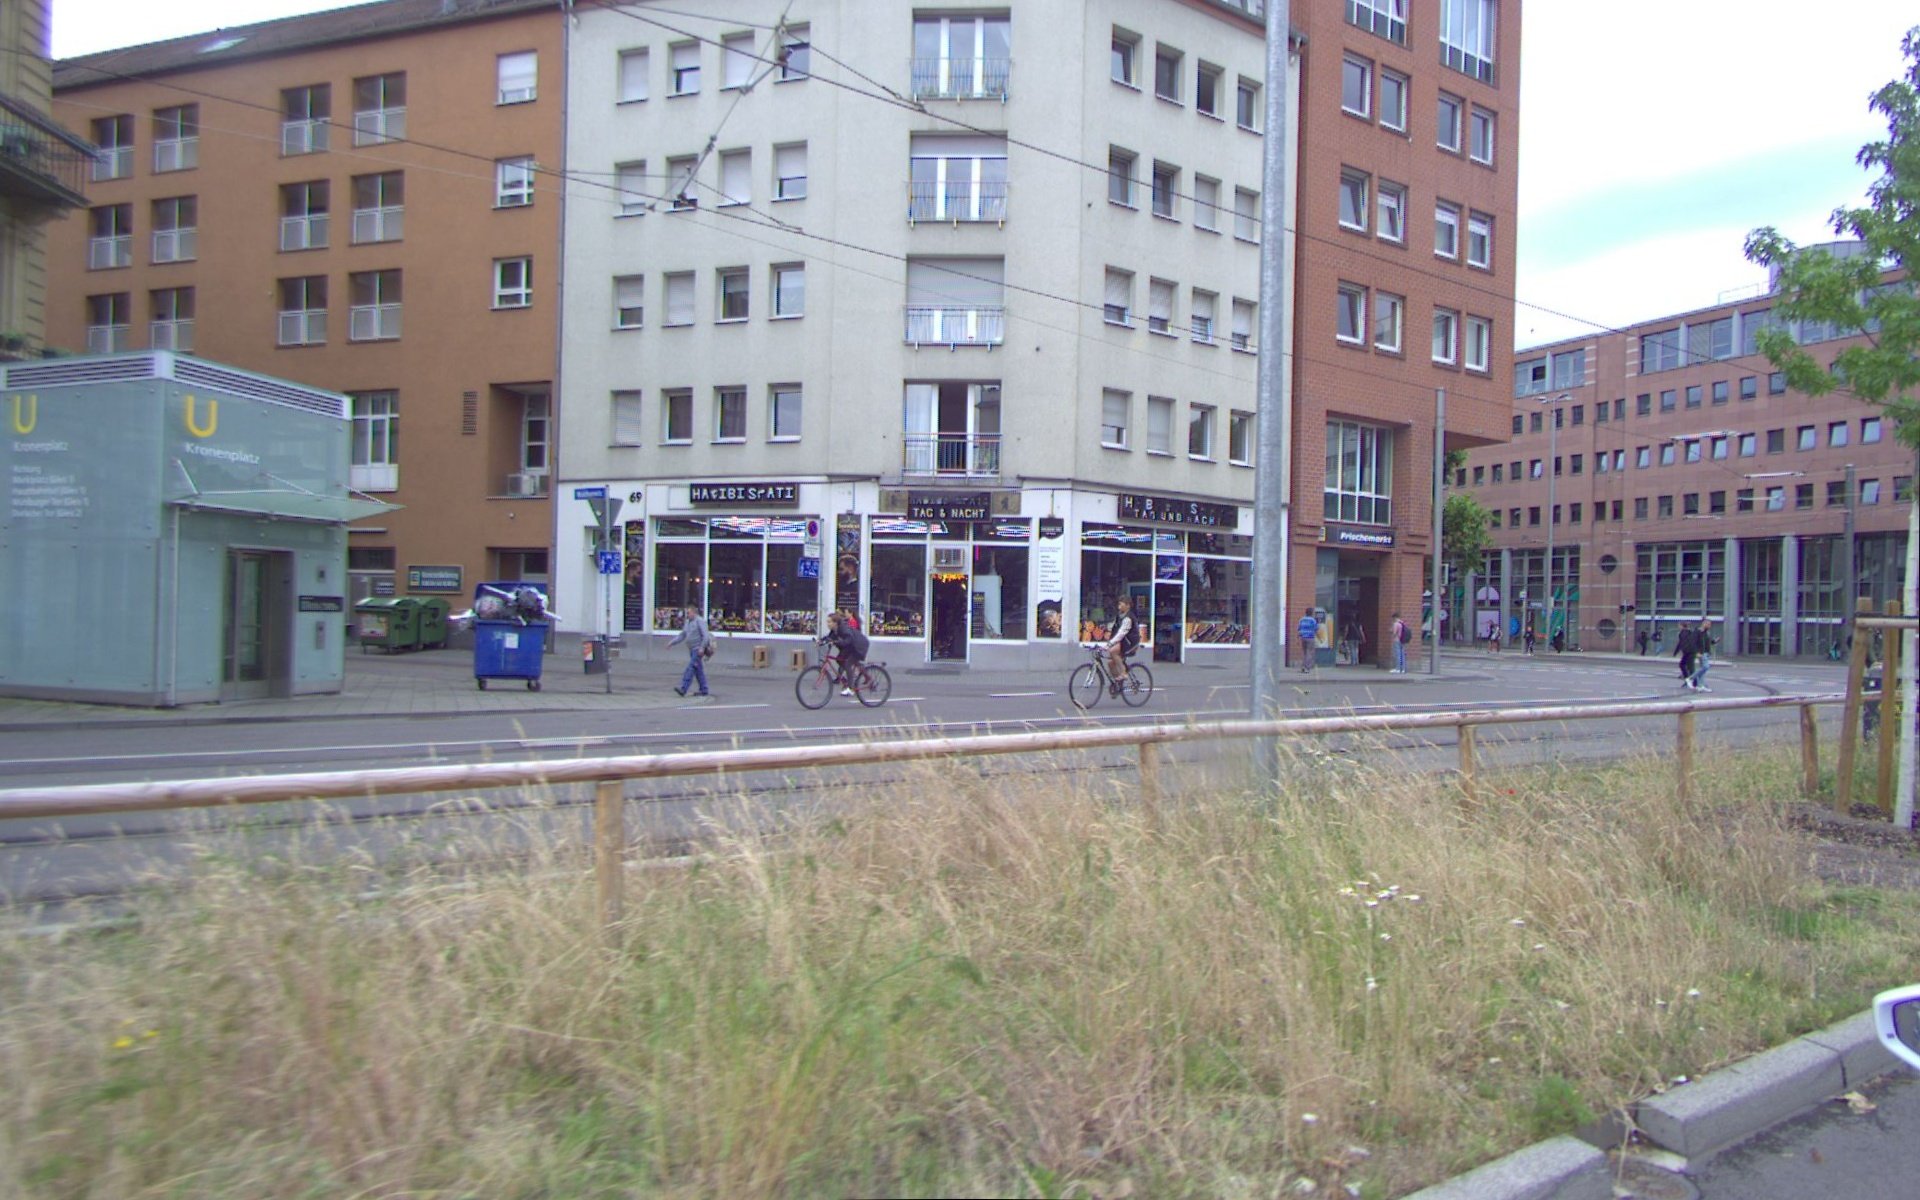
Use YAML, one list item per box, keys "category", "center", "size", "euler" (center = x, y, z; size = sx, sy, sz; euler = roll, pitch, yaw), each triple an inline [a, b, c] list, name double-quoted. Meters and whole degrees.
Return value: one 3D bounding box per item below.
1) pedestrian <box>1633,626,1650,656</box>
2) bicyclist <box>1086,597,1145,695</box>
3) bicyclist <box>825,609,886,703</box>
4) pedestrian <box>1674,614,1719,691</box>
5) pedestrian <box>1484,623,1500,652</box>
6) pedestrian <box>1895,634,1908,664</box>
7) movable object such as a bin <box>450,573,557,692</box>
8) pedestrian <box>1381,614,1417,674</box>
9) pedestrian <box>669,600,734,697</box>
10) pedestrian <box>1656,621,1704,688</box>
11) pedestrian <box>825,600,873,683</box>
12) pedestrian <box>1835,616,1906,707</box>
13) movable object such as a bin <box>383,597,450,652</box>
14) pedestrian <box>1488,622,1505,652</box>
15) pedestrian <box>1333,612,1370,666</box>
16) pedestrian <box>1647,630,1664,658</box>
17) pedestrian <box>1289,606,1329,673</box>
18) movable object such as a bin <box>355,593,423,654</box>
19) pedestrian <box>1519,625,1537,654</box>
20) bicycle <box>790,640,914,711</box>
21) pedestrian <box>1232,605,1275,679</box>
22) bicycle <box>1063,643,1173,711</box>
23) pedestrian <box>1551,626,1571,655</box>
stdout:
- category: "pedestrian"
  center: [39.960, 2.398, 58.873]
  size: [0.732, 1.710, 0.572]
  euler: [3, 0, 37]
- category: "bicyclist"
  center: [2.527, 0.743, 16.315]
  size: [0.802, 1.561, 0.488]
  euler: [2, -1, -31]
- category: "bicyclist"
  center: [-1.636, 0.871, 15.692]
  size: [0.802, 1.425, 0.476]
  euler: [2, -1, -31]
- category: "pedestrian"
  center: [18.679, 1.330, 25.476]
  size: [0.790, 1.915, 0.607]
  euler: [3, -1, -31]
- category: "pedestrian"
  center: [30.317, 2.148, 57.231]
  size: [0.624, 1.633, 0.568]
  euler: [3, 0, -37]
- category: "pedestrian"
  center: [50.194, 2.620, 53.548]
  size: [0.444, 1.552, 0.519]
  euler: [2, 1, 43]
- category: "movable object such as a bin"
  center: [-8.101, 0.589, 17.922]
  size: [1.594, 2.007, 1.029]
  euler: [3, -2, -23]
- category: "pedestrian"
  center: [12.813, 1.279, 29.310]
  size: [0.791, 1.706, 0.565]
  euler: [3, 1, -33]
- category: "pedestrian"
  center: [-4.728, 0.886, 18.371]
  size: [0.712, 1.709, 0.820]
  euler: [1, -2, 43]
- category: "pedestrian"
  center: [19.105, 1.441, 26.669]
  size: [0.791, 1.706, 0.739]
  euler: [3, 1, -33]
- category: "pedestrian"
  center: [-2.359, 0.873, 21.337]
  size: [0.657, 1.709, 0.714]
  euler: [3, -2, -39]
- category: "pedestrian"
  center: [20.010, 1.348, 22.081]
  size: [0.790, 1.915, 0.892]
  euler: [3, 1, -31]
- category: "movable object such as a bin"
  center: [-14.794, 0.657, 27.380]
  size: [1.214, 1.424, 1.011]
  euler: [2, 1, 12]
- category: "pedestrian"
  center: [30.099, 2.101, 56.399]
  size: [0.624, 1.633, 0.568]
  euler: [3, 0, -37]
- category: "pedestrian"
  center: [12.858, 1.288, 33.029]
  size: [0.791, 1.706, 0.739]
  euler: [3, 1, -33]
- category: "pedestrian"
  center: [40.911, 2.583, 59.064]
  size: [0.732, 1.581, 0.572]
  euler: [3, 0, 38]
- category: "pedestrian"
  center: [9.119, 1.027, 26.259]
  size: [0.716, 1.709, 0.655]
  euler: [3, -2, -38]
- category: "movable object such as a bin"
  center: [-15.005, 0.603, 26.421]
  size: [1.214, 1.521, 0.947]
  euler: [2, 1, 12]
- category: "pedestrian"
  center: [31.317, 2.178, 55.393]
  size: [0.624, 1.595, 0.568]
  euler: [3, 0, -37]
- category: "bicycle"
  center: [-1.670, 1.159, 15.663]
  size: [1.890, 1.034, 0.477]
  euler: [2, -1, -31]
- category: "pedestrian"
  center: [6.972, 1.004, 23.878]
  size: [0.717, 1.709, 0.654]
  euler: [3, -2, -41]
- category: "bicycle"
  center: [2.589, 1.239, 16.355]
  size: [1.890, 1.034, 0.474]
  euler: [2, -1, -31]
- category: "pedestrian"
  center: [33.527, 2.239, 56.026]
  size: [0.734, 1.581, 0.571]
  euler: [3, 0, -24]
